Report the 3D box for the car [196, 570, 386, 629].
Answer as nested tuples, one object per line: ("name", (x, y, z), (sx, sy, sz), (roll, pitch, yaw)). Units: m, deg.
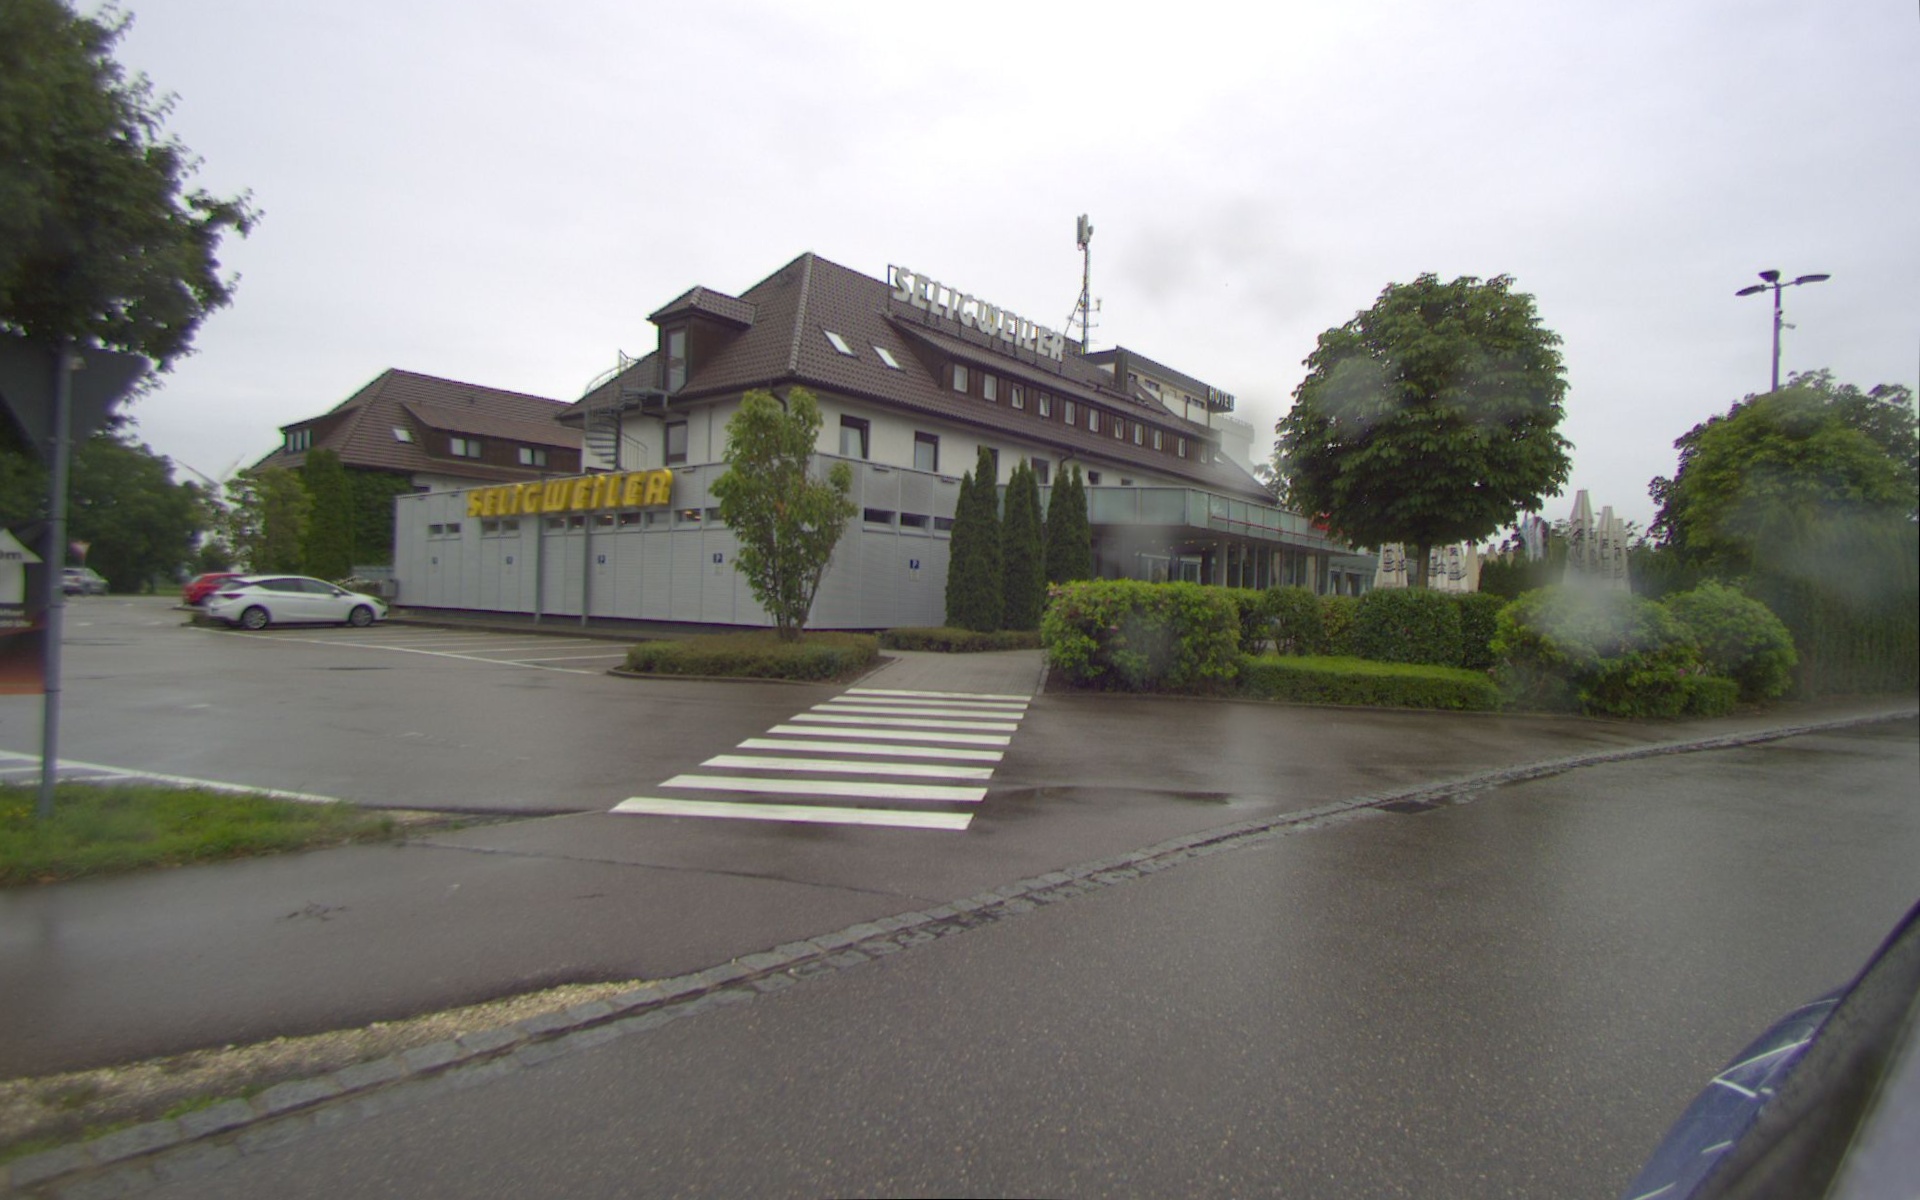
("car", (-18.614, -0.048, 28.297), (1.709, 1.516, 4.132), (1, 1, 38))
